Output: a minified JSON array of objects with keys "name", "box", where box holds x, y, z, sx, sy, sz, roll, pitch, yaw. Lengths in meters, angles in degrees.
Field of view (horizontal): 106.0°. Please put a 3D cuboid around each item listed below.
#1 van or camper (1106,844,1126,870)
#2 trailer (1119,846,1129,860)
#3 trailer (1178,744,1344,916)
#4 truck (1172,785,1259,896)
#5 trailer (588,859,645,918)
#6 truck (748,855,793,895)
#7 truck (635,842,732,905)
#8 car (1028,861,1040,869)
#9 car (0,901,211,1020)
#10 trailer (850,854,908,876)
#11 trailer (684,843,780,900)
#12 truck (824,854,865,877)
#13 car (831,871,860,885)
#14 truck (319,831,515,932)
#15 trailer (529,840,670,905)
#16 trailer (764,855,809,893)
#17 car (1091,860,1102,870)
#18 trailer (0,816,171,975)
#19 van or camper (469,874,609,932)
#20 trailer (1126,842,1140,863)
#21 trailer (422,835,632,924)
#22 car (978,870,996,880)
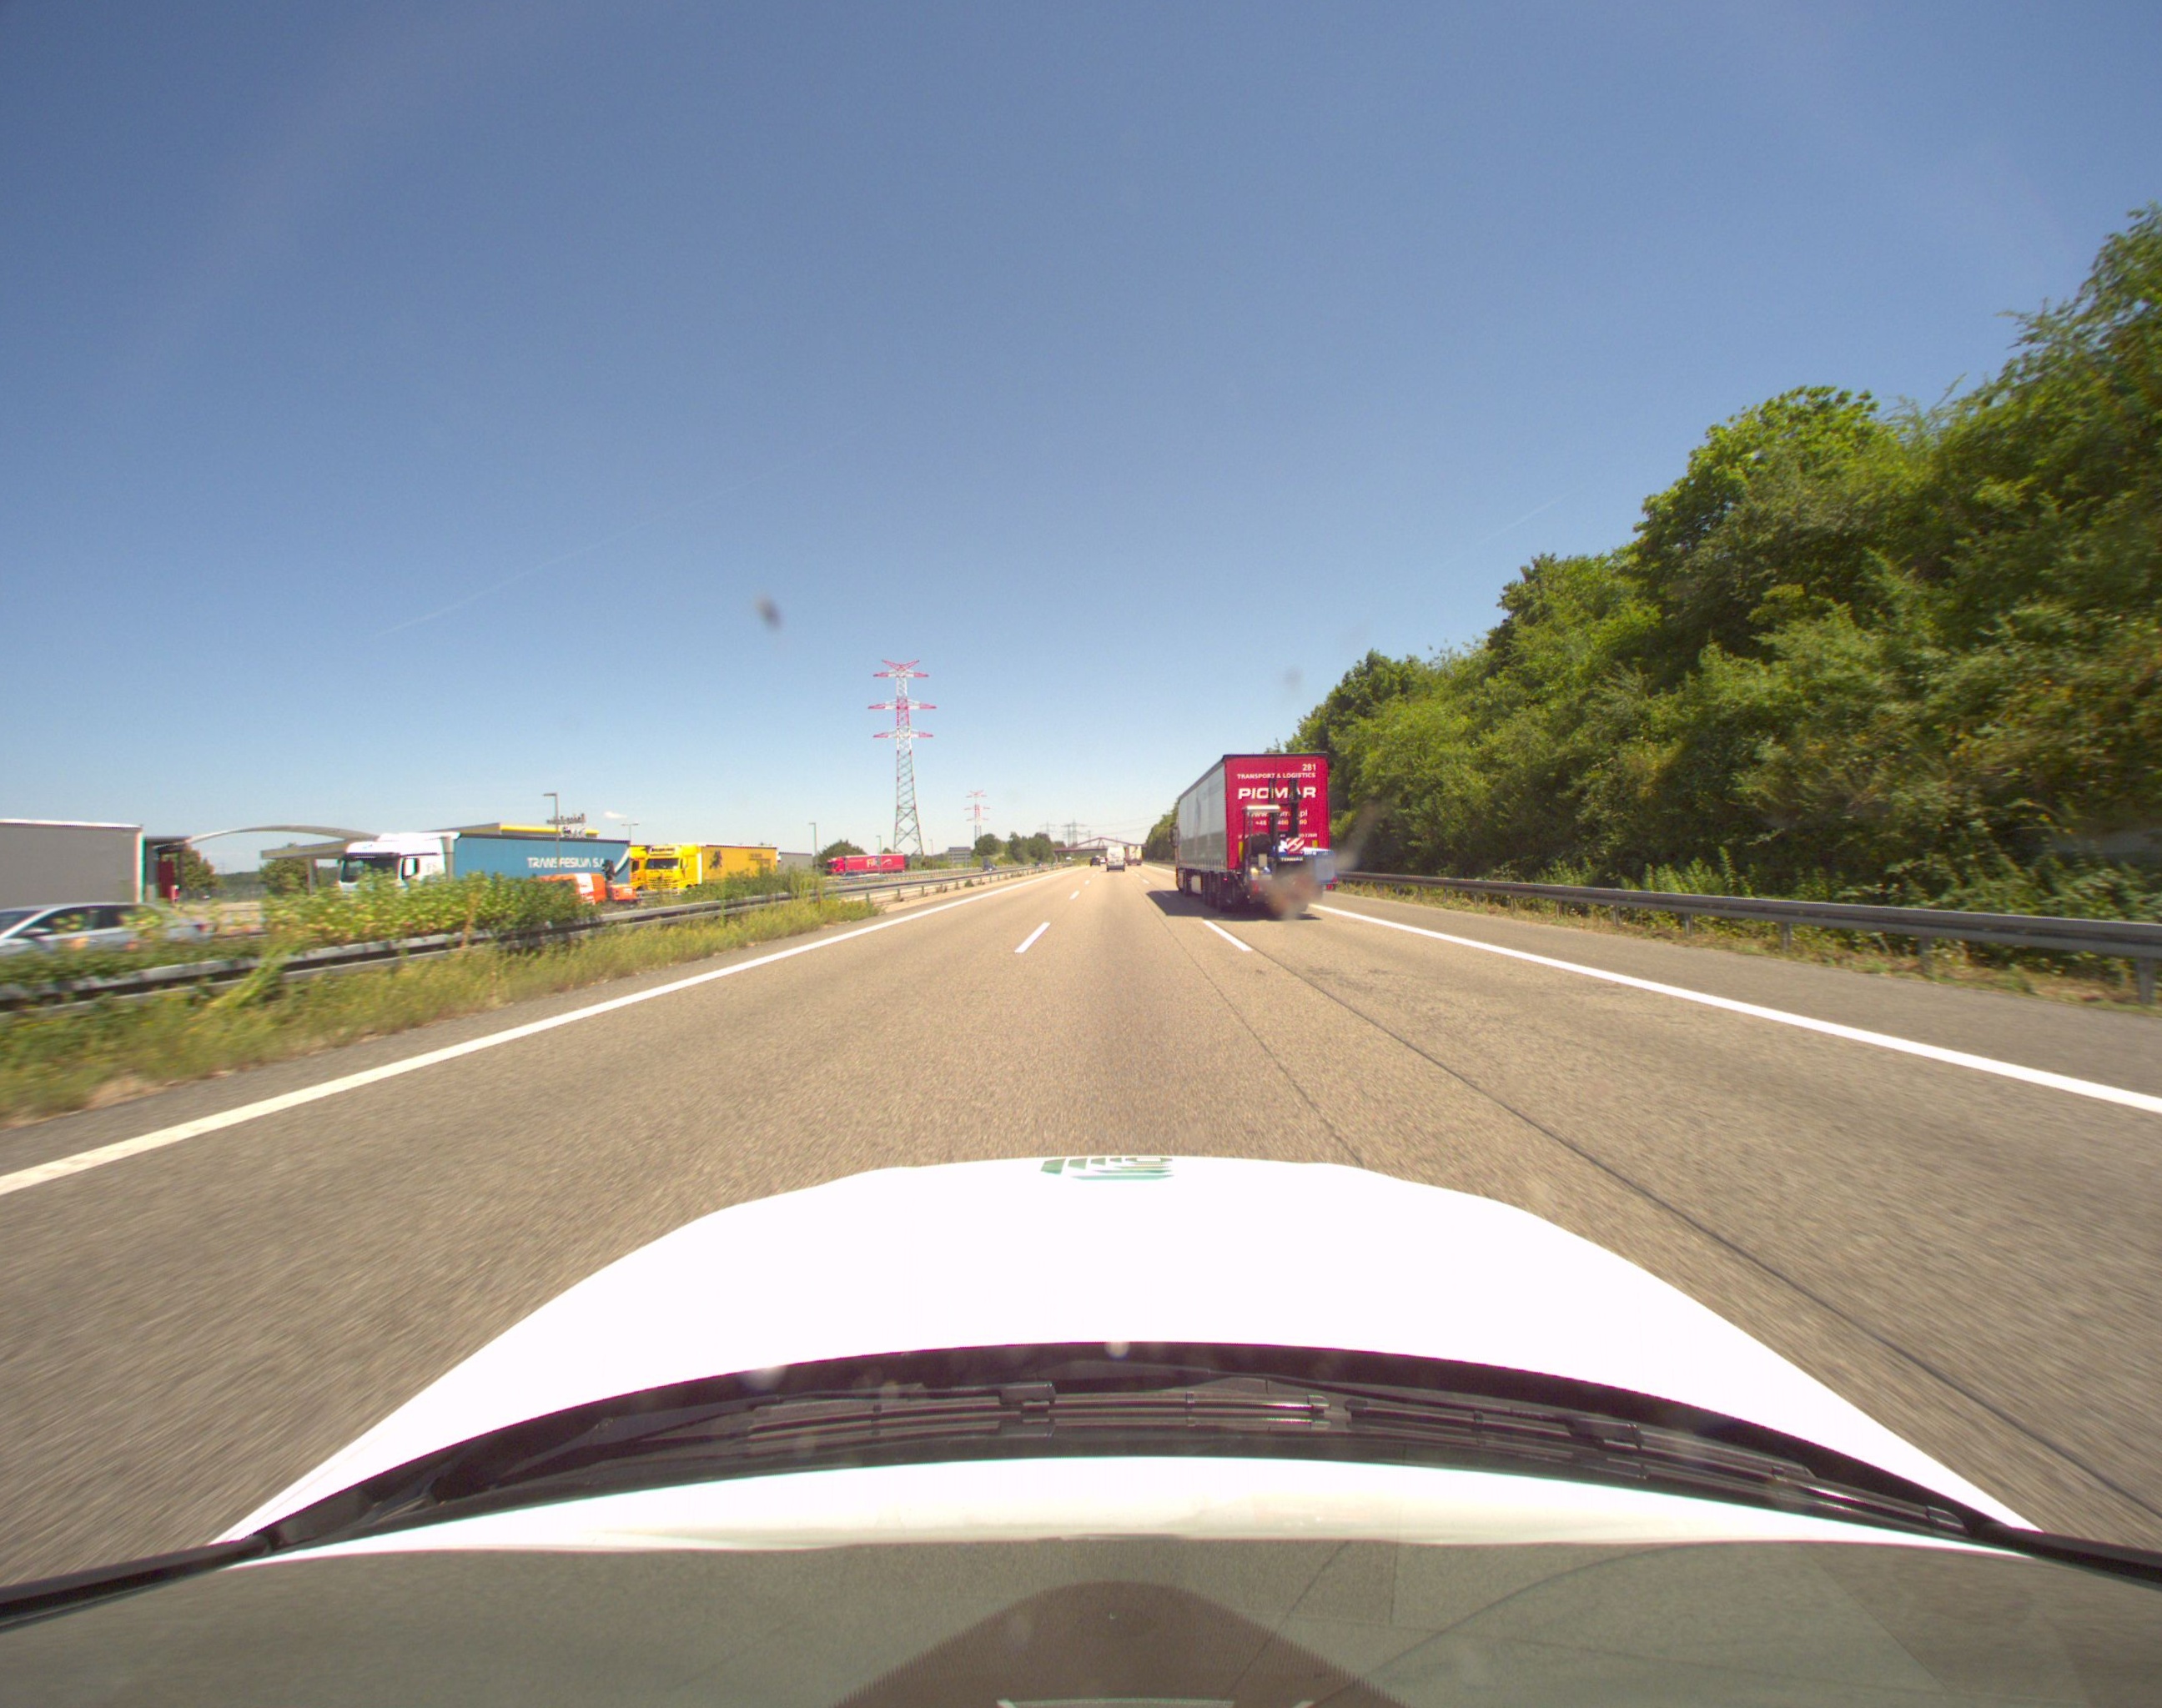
[{"name":"van or camper","box":[3.910,0.318,90.668,2.221,2.782,5.426,0,0,2]},{"name":"trailer","box":[11.887,-0.223,225.646,2.626,3.897,7.074,0,0,3]},{"name":"trailer","box":[4.966,-0.510,25.766,2.481,3.909,14.251,-1,0,2]},{"name":"truck","box":[5.192,-0.448,32.630,2.490,3.920,7.099,-1,0,2]},{"name":"trailer","box":[-19.493,1.431,34.250,1.163,2.369,1.999,-2,0,2]},{"name":"truck","box":[-39.732,2.622,104.355,3.295,4.850,7.613,0,0,-4]},{"name":"truck","box":[-28.138,1.314,58.124,2.823,4.200,7.920,0,0,1]},{"name":"car","box":[-9.859,2.284,171.753,1.965,1.647,5.018,0,0,2]},{"name":"car","box":[-16.669,1.653,12.955,1.516,1.612,3.754,0,0,2]},{"name":"trailer","box":[-38.187,2.071,154.242,3.090,4.055,11.385,0,0,36]},{"name":"trailer","box":[-28.008,1.342,66.065,2.823,4.220,11.085,0,0,1]},{"name":"truck","box":[-42.879,2.048,147.620,3.087,4.049,6.688,0,-1,36]},{"name":"car","box":[-26.458,2.658,91.778,1.805,1.489,4.510,0,0,2]},{"name":"truck","box":[-29.237,1.136,36.390,2.839,4.073,7.090,0,0,1]},{"name":"trailer","box":[-33.386,1.215,57.277,2.821,4.148,11.092,0,0,3]},{"name":"trailer","box":[-40.249,2.648,111.560,3.295,4.875,9.666,0,0,-5]},{"name":"car","box":[2.944,2.111,155.308,1.973,1.817,3.817,0,0,4]},{"name":"trailer","box":[-29.862,1.073,19.744,3.102,4.158,11.016,0,0,1]},{"name":"van or camper","box":[-19.984,1.738,30.331,1.889,1.839,4.748,-2,0,2]},{"name":"trailer","box":[10.277,-0.238,160.904,2.626,4.060,12.376,0,0,3]},{"name":"trailer","box":[-29.070,1.226,43.862,2.823,4.148,12.086,0,0,1]},{"name":"car","box":[-12.897,2.877,112.260,1.735,1.276,4.320,-5,-1,2]}]
